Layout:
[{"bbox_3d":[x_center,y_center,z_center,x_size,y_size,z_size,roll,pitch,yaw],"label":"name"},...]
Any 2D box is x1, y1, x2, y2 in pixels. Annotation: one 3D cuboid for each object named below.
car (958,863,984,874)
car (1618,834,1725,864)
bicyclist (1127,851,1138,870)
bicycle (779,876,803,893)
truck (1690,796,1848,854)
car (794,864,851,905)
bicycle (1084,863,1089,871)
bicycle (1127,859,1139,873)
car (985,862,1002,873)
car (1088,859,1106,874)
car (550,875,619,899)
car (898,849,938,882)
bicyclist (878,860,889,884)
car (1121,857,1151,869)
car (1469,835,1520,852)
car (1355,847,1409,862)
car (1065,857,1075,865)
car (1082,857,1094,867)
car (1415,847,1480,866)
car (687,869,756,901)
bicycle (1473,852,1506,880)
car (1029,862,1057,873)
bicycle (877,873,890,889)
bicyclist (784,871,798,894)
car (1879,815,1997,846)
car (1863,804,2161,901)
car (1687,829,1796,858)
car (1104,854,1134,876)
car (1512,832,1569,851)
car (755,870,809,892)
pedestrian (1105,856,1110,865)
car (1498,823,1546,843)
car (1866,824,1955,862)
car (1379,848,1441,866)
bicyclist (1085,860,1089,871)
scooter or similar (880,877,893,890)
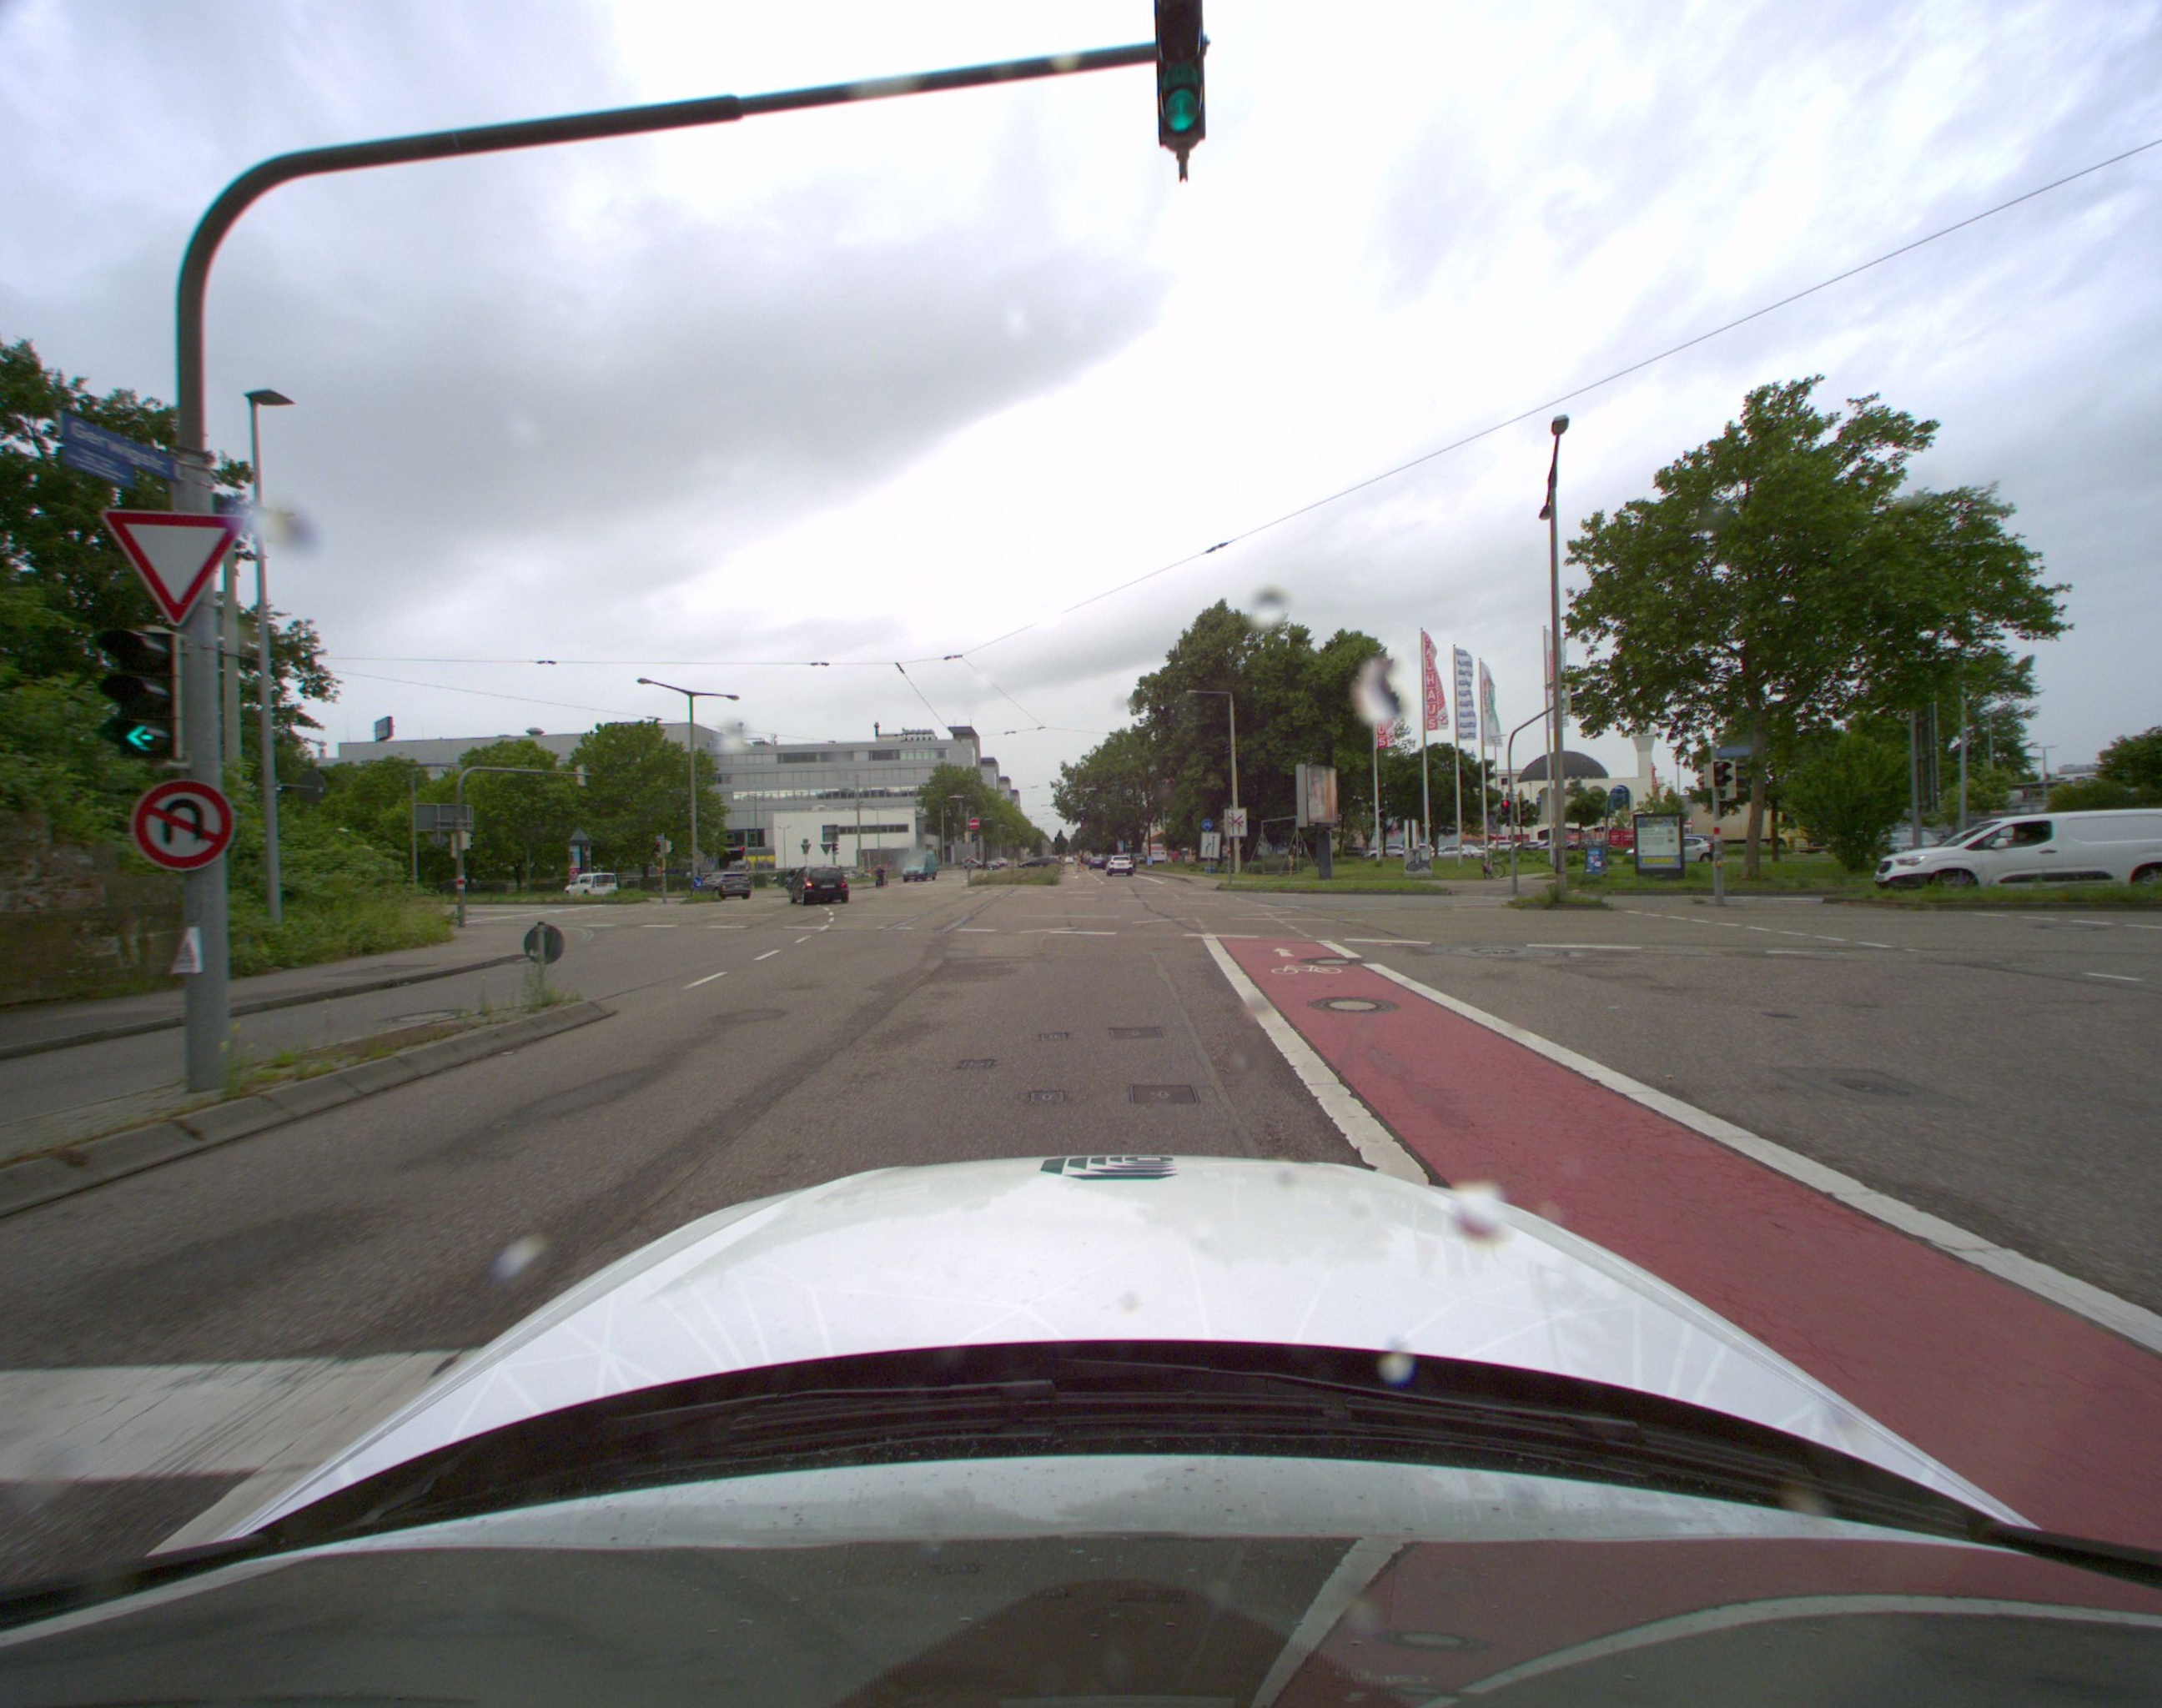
[{"bbox_3d":[-19.655,2.553,146.038,4.402,1.783,1.823,-2,-1,-4],"label":"car"},{"bbox_3d":[30.160,-0.228,41.682,4.214,1.497,1.928,0,-1,-5],"label":"car"},{"bbox_3d":[4.509,0.541,70.976,0.814,1.630,1.234,-2,-1,-1],"label":"bicyclist"},{"bbox_3d":[-19.106,2.016,53.659,0.641,1.062,2.005,0,0,8],"label":"bicycle"},{"bbox_3d":[46.851,-1.826,55.977,2.931,3.564,9.243,0,-1,-1],"label":"truck"},{"bbox_3d":[-10.601,1.207,33.235,1.777,1.528,3.639,-1,0,-25],"label":"car"},{"bbox_3d":[1.004,2.322,144.546,0.669,1.394,2.163,-1,0,-4],"label":"bicycle"},{"bbox_3d":[4.531,1.034,70.973,0.814,1.212,2.681,-2,0,-1],"label":"bicycle"},{"bbox_3d":[-12.527,1.981,116.942,1.813,1.475,4.130,-3,-2,1],"label":"car"},{"bbox_3d":[1.722,1.368,89.850,1.681,1.513,3.700,-1,0,-4],"label":"car"},{"bbox_3d":[-33.693,2.197,55.177,4.946,1.528,1.981,-1,0,32],"label":"car"},{"bbox_3d":[-14.832,1.042,74.408,2.320,2.826,5.949,-2,-1,1],"label":"car"},{"bbox_3d":[-13.923,1.234,57.345,0.645,1.683,0.684,0,0,-8],"label":"bicyclist"},{"bbox_3d":[8.200,1.378,122.266,4.302,1.677,1.991,-2,-1,-1],"label":"car"},{"bbox_3d":[45.523,-1.117,89.700,4.548,1.677,2.150,-2,-1,-7],"label":"car"},{"bbox_3d":[29.102,0.049,78.919,4.524,1.497,1.956,0,-1,-6],"label":"car"},{"bbox_3d":[-2.272,1.331,161.621,1.792,1.513,3.700,-1,0,-4],"label":"car"},{"bbox_3d":[1.205,1.402,144.494,1.872,1.632,3.996,-2,0,-3],"label":"car"},{"bbox_3d":[29.954,0.184,66.622,4.438,1.497,1.927,0,-1,-6],"label":"car"},{"bbox_3d":[-19.901,1.703,45.050,3.622,1.652,1.790,-1,0,34],"label":"car"},{"bbox_3d":[17.238,0.504,34.346,1.816,1.118,0.483,-2,-1,-39],"label":"bicycle"},{"bbox_3d":[-5.376,1.893,114.682,3.873,1.556,1.824,0,-1,-2],"label":"car"},{"bbox_3d":[-13.923,1.895,57.333,0.645,1.062,2.019,0,0,-7],"label":"bicycle"},{"bbox_3d":[-19.094,1.857,53.693,0.642,1.518,0.628,0,0,8],"label":"bicyclist"},{"bbox_3d":[48.011,-1.307,45.669,4.539,1.506,1.987,-2,-1,-1],"label":"car"},{"bbox_3d":[19.660,0.028,17.059,4.364,1.829,1.892,-2,-2,32],"label":"car"},{"bbox_3d":[36.632,-0.524,45.245,4.556,1.497,1.943,-1,-1,44],"label":"car"},{"bbox_3d":[2.794,0.787,61.142,1.820,1.600,3.770,-1,0,-4],"label":"car"},{"bbox_3d":[45.911,-1.198,81.362,4.548,1.677,2.150,-2,-1,-7],"label":"car"},{"bbox_3d":[-23.472,2.103,63.946,3.628,1.528,1.782,-2,-1,17],"label":"car"},{"bbox_3d":[4.844,1.178,151.062,0.760,1.705,0.680,-2,-1,-7],"label":"pedestrian"},{"bbox_3d":[63.230,-3.043,116.690,5.727,2.537,2.072,-2,-1,-2],"label":"car"},{"bbox_3d":[34.664,-0.402,34.166,1.803,1.497,4.262,-1,-1,34],"label":"car"},{"bbox_3d":[29.519,0.280,73.124,4.664,1.497,2.168,0,-1,-3],"label":"car"},{"bbox_3d":[1.001,2.049,144.671,0.669,1.815,0.758,-1,0,-4],"label":"bicyclist"},{"bbox_3d":[-14.090,2.106,59.024,0.843,0.907,1.195,0,0,-8],"label":"scooter or similar"}]
